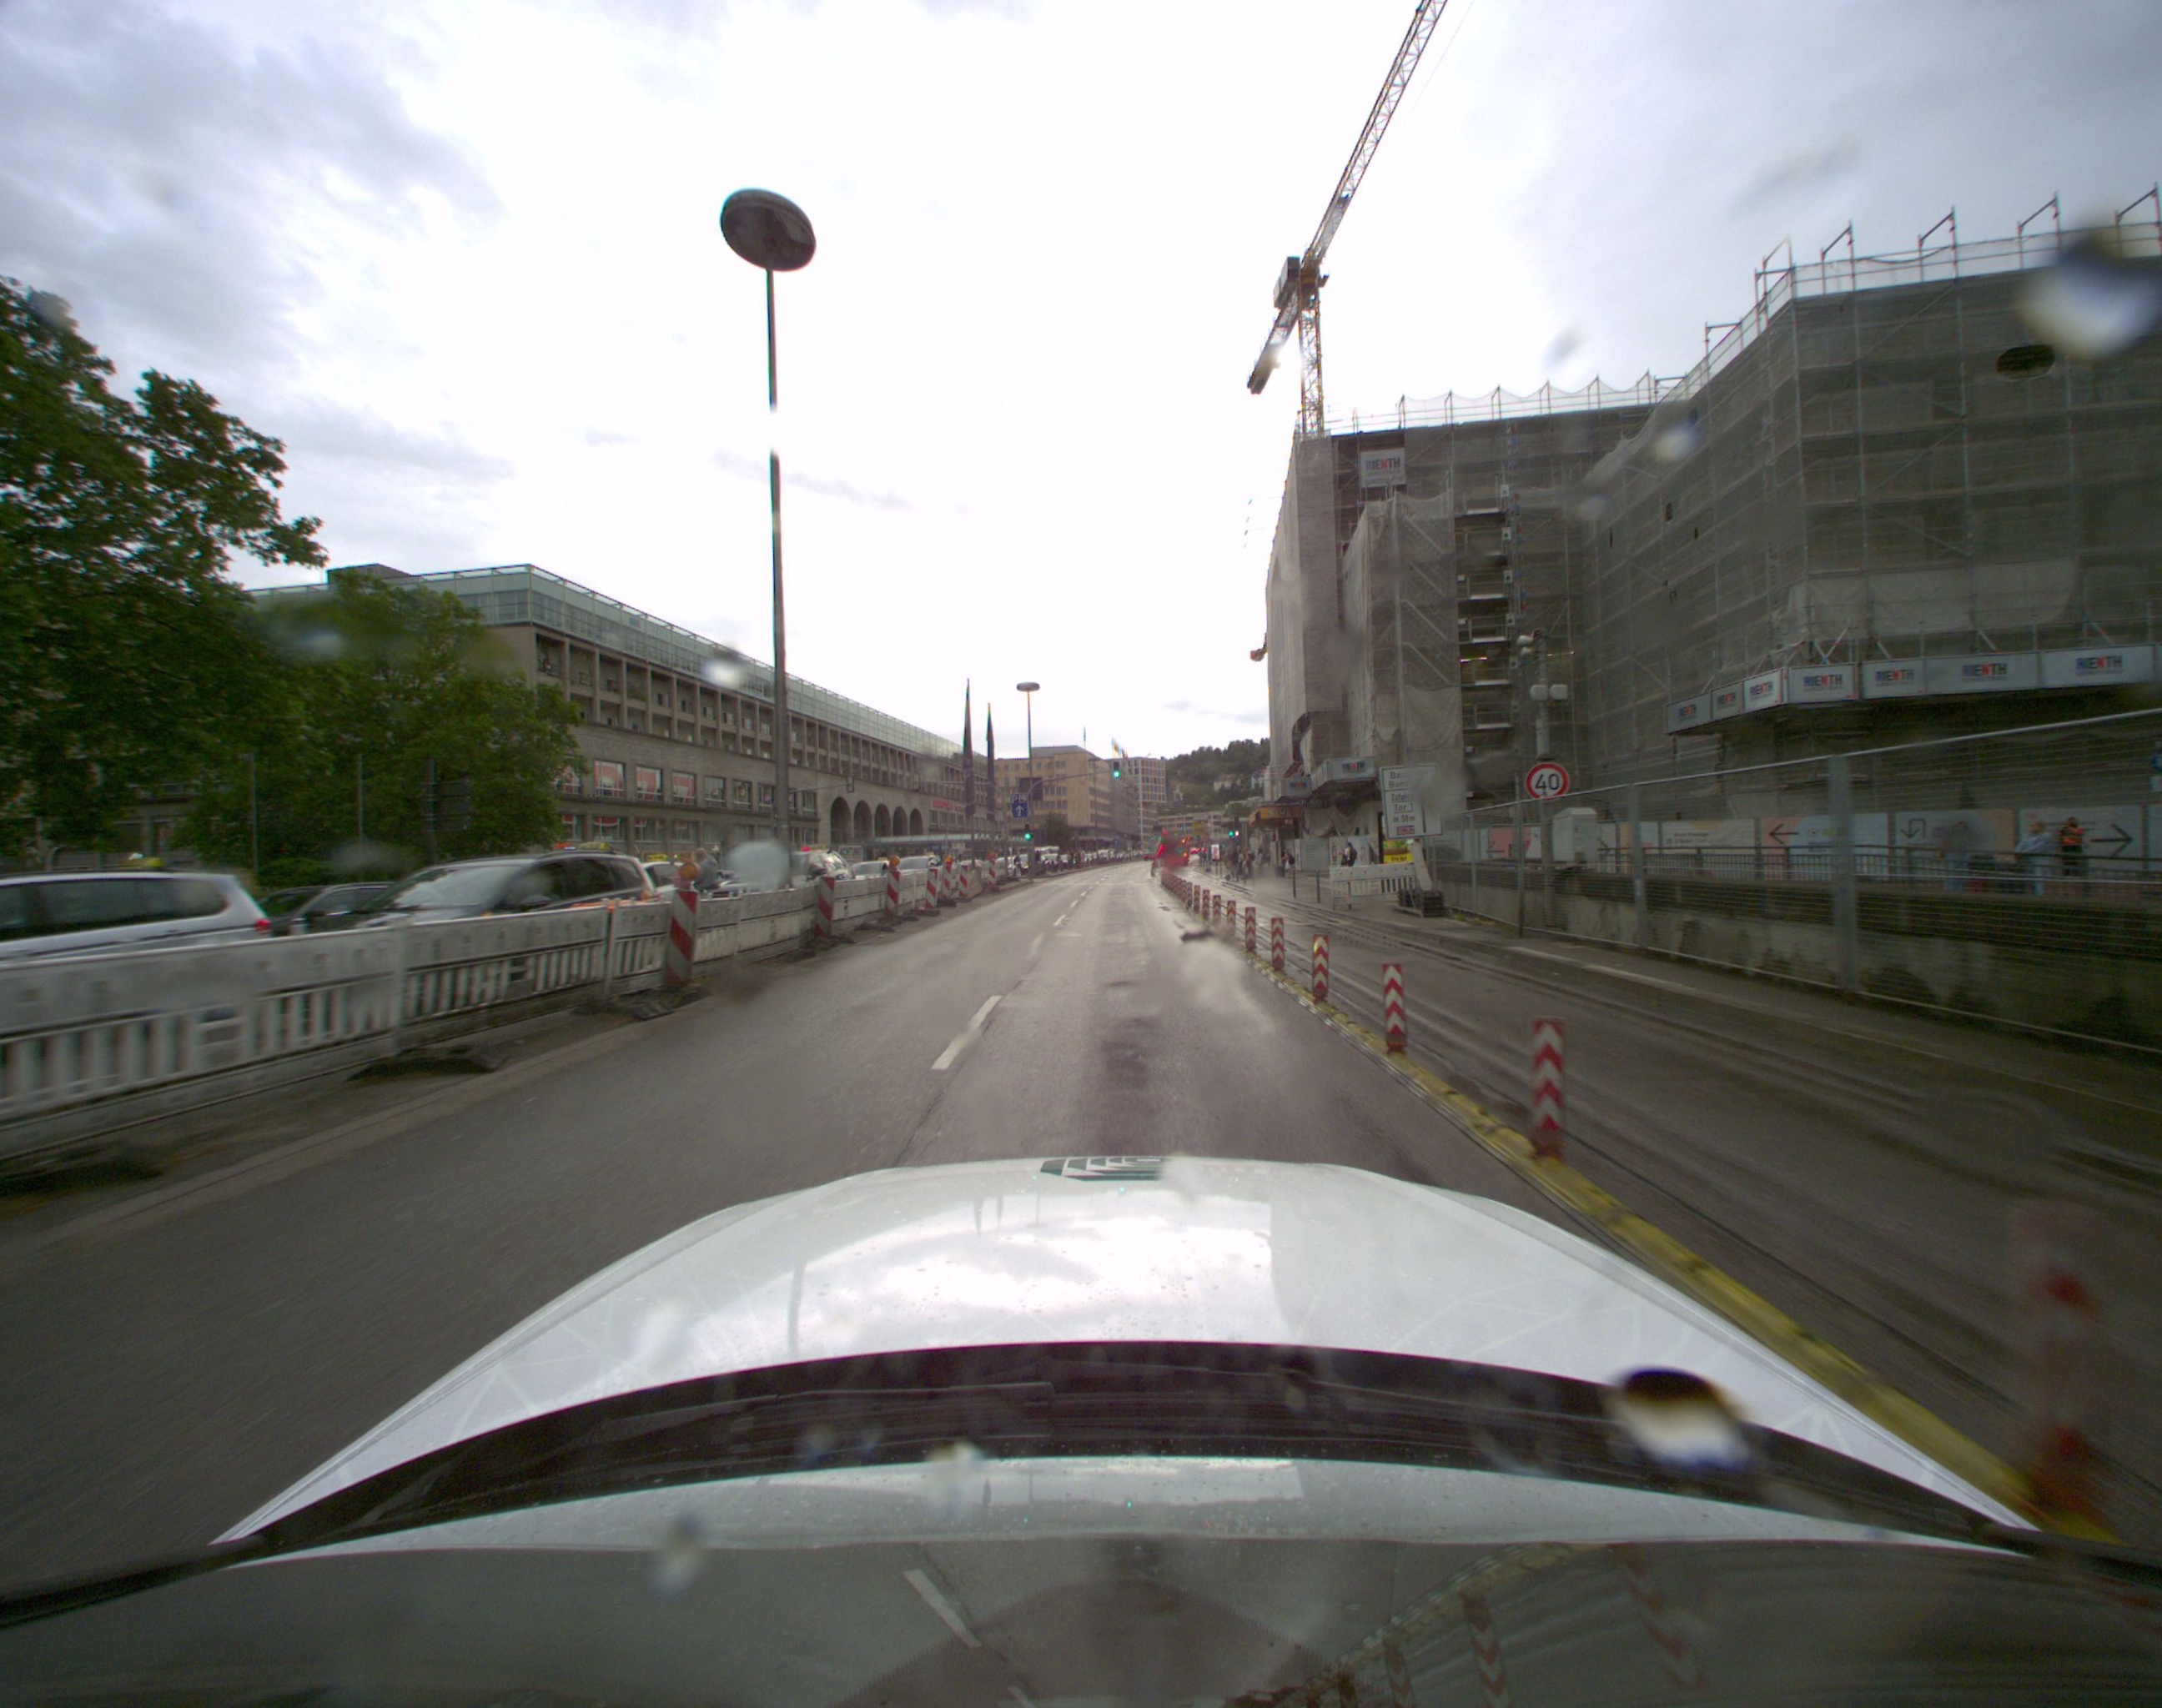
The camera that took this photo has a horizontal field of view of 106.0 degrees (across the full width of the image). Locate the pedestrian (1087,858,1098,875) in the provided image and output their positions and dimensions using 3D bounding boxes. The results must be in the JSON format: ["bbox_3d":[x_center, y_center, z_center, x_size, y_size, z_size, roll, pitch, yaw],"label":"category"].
[{"bbox_3d":[1.173,1.377,86.496,1.045,1.768,0.618,-2,-1,7],"label":"pedestrian"}]

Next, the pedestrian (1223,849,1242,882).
[{"bbox_3d":[8.172,0.637,43.923,0.584,1.741,0.813,-1,0,-35],"label":"pedestrian"}]

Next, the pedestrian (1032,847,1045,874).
[{"bbox_3d":[-2.970,0.466,56.782,0.780,1.775,0.605,-4,-1,-4],"label":"pedestrian"}]

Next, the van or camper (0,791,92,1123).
[{"bbox_3d":[-6.932,0.622,2.143,1.939,1.819,5.392,-4,0,0],"label":"van or camper"}]

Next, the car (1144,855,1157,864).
[{"bbox_3d":[11.612,0.929,136.464,1.985,1.552,4.003,-2,-1,3],"label":"car"}]

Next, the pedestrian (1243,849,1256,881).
[{"bbox_3d":[9.509,0.627,46.080,0.555,1.752,0.713,-5,-1,9],"label":"pedestrian"}]

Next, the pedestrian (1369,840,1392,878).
[{"bbox_3d":[13.665,0.239,37.173,0.728,1.682,1.113,-2,0,10],"label":"pedestrian"}]

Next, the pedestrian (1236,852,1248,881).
[{"bbox_3d":[9.427,0.705,47.786,0.555,1.641,0.754,-5,-1,9],"label":"pedestrian"}]

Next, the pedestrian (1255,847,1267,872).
[{"bbox_3d":[13.839,0.447,62.696,0.719,1.847,0.812,-4,-1,8],"label":"pedestrian"}]

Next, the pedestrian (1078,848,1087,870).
[{"bbox_3d":[0.113,0.424,75.265,0.719,2.007,0.774,-1,0,7],"label":"pedestrian"}]

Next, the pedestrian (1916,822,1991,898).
[{"bbox_3d":[18.772,0.128,17.542,0.852,1.593,0.709,0,-1,0],"label":"pedestrian"}]

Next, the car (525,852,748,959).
[{"bbox_3d":[-9.259,0.950,17.515,1.906,1.851,4.572,4,1,4],"label":"car"}]

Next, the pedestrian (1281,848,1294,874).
[{"bbox_3d":[13.021,0.432,51.337,0.546,1.632,0.998,-4,-1,8],"label":"pedestrian"}]

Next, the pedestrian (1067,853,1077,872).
[{"bbox_3d":[-0.832,0.763,75.324,0.694,1.755,0.713,-2,0,7],"label":"pedestrian"}]

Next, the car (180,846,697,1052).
[{"bbox_3d":[-6.924,0.838,9.714,1.984,1.770,4.818,-2,1,5],"label":"car"}]

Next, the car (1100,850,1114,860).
[{"bbox_3d":[4.274,0.129,133.578,1.984,1.552,4.006,-2,-1,6],"label":"car"}]

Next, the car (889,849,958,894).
[{"bbox_3d":[-7.089,0.736,37.127,1.894,1.898,4.530,0,0,5],"label":"car"}]

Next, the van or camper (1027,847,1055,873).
[{"bbox_3d":[-4.323,0.614,88.074,1.983,2.514,5.380,-5,0,6],"label":"van or camper"}]

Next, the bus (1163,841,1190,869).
[{"bbox_3d":[11.350,0.130,96.204,2.739,3.069,9.101,-1,0,8],"label":"bus"}]

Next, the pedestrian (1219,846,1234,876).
[{"bbox_3d":[8.812,0.412,49.310,0.557,1.759,0.750,-4,-1,-6],"label":"pedestrian"}]

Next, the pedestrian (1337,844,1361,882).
[{"bbox_3d":[12.097,0.402,36.783,0.732,1.677,0.959,-4,-1,7],"label":"pedestrian"}]

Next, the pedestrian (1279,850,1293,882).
[{"bbox_3d":[10.738,0.613,42.622,0.560,1.650,0.617,-5,-1,12],"label":"pedestrian"}]

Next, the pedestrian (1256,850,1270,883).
[{"bbox_3d":[9.572,0.655,42.901,0.555,1.650,0.616,-5,-1,9],"label":"pedestrian"}]

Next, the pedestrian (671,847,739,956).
[{"bbox_3d":[-7.187,0.885,15.597,0.872,2.013,0.822,-1,0,1],"label":"pedestrian"}]

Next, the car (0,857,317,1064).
[{"bbox_3d":[-9.970,0.913,7.286,1.882,1.702,4.427,0,0,4],"label":"car"}]

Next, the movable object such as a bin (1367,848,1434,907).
[{"bbox_3d":[8.567,0.611,21.806,1.286,1.492,1.543,-3,-1,36],"label":"movable object such as a bin"}]

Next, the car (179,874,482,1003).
[{"bbox_3d":[-14.082,1.474,15.677,1.985,2.013,4.003,0,0,2],"label":"car"}]

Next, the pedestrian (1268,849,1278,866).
[{"bbox_3d":[17.138,0.310,72.721,0.647,1.540,0.667,-5,-1,9],"label":"pedestrian"}]

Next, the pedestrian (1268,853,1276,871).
[{"bbox_3d":[20.206,0.875,85.994,0.641,1.847,0.660,-4,-1,7],"label":"pedestrian"}]

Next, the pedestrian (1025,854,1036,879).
[{"bbox_3d":[-3.467,0.874,55.881,0.648,1.711,0.594,0,0,6],"label":"pedestrian"}]

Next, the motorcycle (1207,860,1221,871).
[{"bbox_3d":[14.744,1.261,90.153,1.626,1.166,0.579,0,-1,-43],"label":"motorcycle"}]

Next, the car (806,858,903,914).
[{"bbox_3d":[-8.035,1.081,29.341,1.775,1.722,4.490,-2,1,5],"label":"car"}]

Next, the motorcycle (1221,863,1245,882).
[{"bbox_3d":[8.191,0.994,43.909,0.589,1.021,1.226,-1,0,-35],"label":"motorcycle"}]

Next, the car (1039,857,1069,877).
[{"bbox_3d":[-2.436,1.143,74.057,1.919,1.690,4.692,-3,-1,7],"label":"car"}]

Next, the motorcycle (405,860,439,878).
[{"bbox_3d":[-39.890,0.901,49.336,0.528,1.047,1.719,-1,0,5],"label":"motorcycle"}]

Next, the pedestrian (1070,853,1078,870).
[{"bbox_3d":[-0.677,0.690,79.169,0.719,1.606,0.998,0,0,7],"label":"pedestrian"}]

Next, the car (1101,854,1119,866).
[{"bbox_3d":[4.355,0.883,120.575,1.981,1.722,4.795,-2,0,10],"label":"car"}]

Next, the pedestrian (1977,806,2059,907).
[{"bbox_3d":[19.149,0.048,16.659,0.801,2.014,0.765,0,-1,0],"label":"pedestrian"}]

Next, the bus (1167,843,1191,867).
[{"bbox_3d":[12.691,0.145,105.184,2.739,3.066,9.014,-1,0,8],"label":"bus"}]

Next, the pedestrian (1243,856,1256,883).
[{"bbox_3d":[9.276,0.857,44.814,0.555,1.449,0.713,-5,-1,9],"label":"pedestrian"}]

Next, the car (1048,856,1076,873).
[{"bbox_3d":[-1.844,1.004,80.137,1.919,1.576,5.271,-3,-1,7],"label":"car"}]

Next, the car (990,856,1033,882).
[{"bbox_3d":[-4.732,1.021,56.201,2.005,1.621,4.850,-2,0,5],"label":"car"}]

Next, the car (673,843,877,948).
[{"bbox_3d":[-6.127,0.721,17.071,1.984,1.817,4.818,-2,1,5],"label":"car"}]

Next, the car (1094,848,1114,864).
[{"bbox_3d":[3.307,0.229,115.249,1.982,2.178,5.558,-2,0,9],"label":"car"}]

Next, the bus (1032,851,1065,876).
[{"bbox_3d":[-4.810,1.335,122.225,2.861,3.459,10.599,-2,0,8],"label":"bus"}]
